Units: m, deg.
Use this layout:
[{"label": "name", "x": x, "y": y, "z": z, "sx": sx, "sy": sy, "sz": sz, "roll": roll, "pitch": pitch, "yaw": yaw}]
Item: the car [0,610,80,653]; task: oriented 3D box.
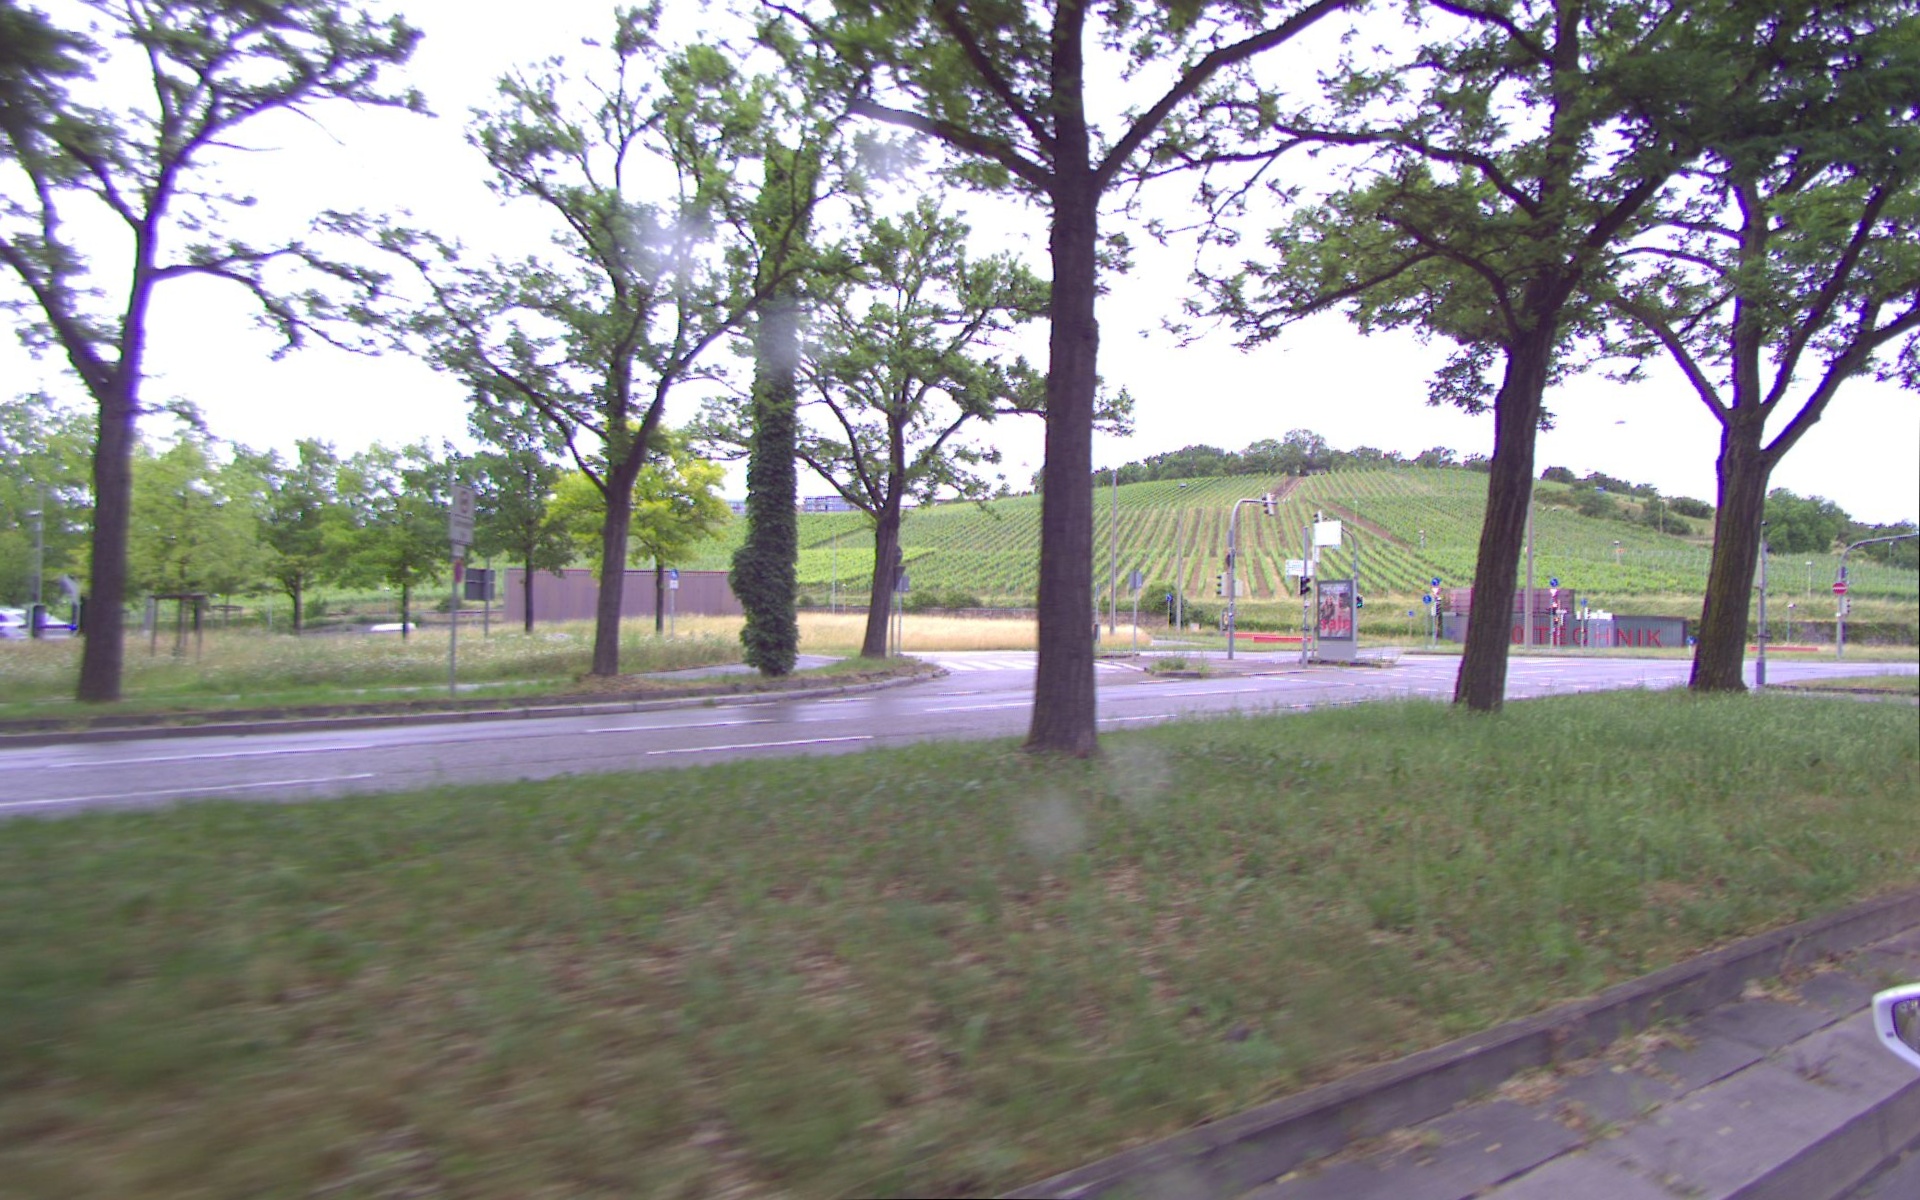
[{"label": "car", "x": -31.029, "y": 0.967, "z": 32.215, "sx": 3.928, "sy": 1.261, "sz": 1.617, "roll": 2, "pitch": 0, "yaw": -10}]
